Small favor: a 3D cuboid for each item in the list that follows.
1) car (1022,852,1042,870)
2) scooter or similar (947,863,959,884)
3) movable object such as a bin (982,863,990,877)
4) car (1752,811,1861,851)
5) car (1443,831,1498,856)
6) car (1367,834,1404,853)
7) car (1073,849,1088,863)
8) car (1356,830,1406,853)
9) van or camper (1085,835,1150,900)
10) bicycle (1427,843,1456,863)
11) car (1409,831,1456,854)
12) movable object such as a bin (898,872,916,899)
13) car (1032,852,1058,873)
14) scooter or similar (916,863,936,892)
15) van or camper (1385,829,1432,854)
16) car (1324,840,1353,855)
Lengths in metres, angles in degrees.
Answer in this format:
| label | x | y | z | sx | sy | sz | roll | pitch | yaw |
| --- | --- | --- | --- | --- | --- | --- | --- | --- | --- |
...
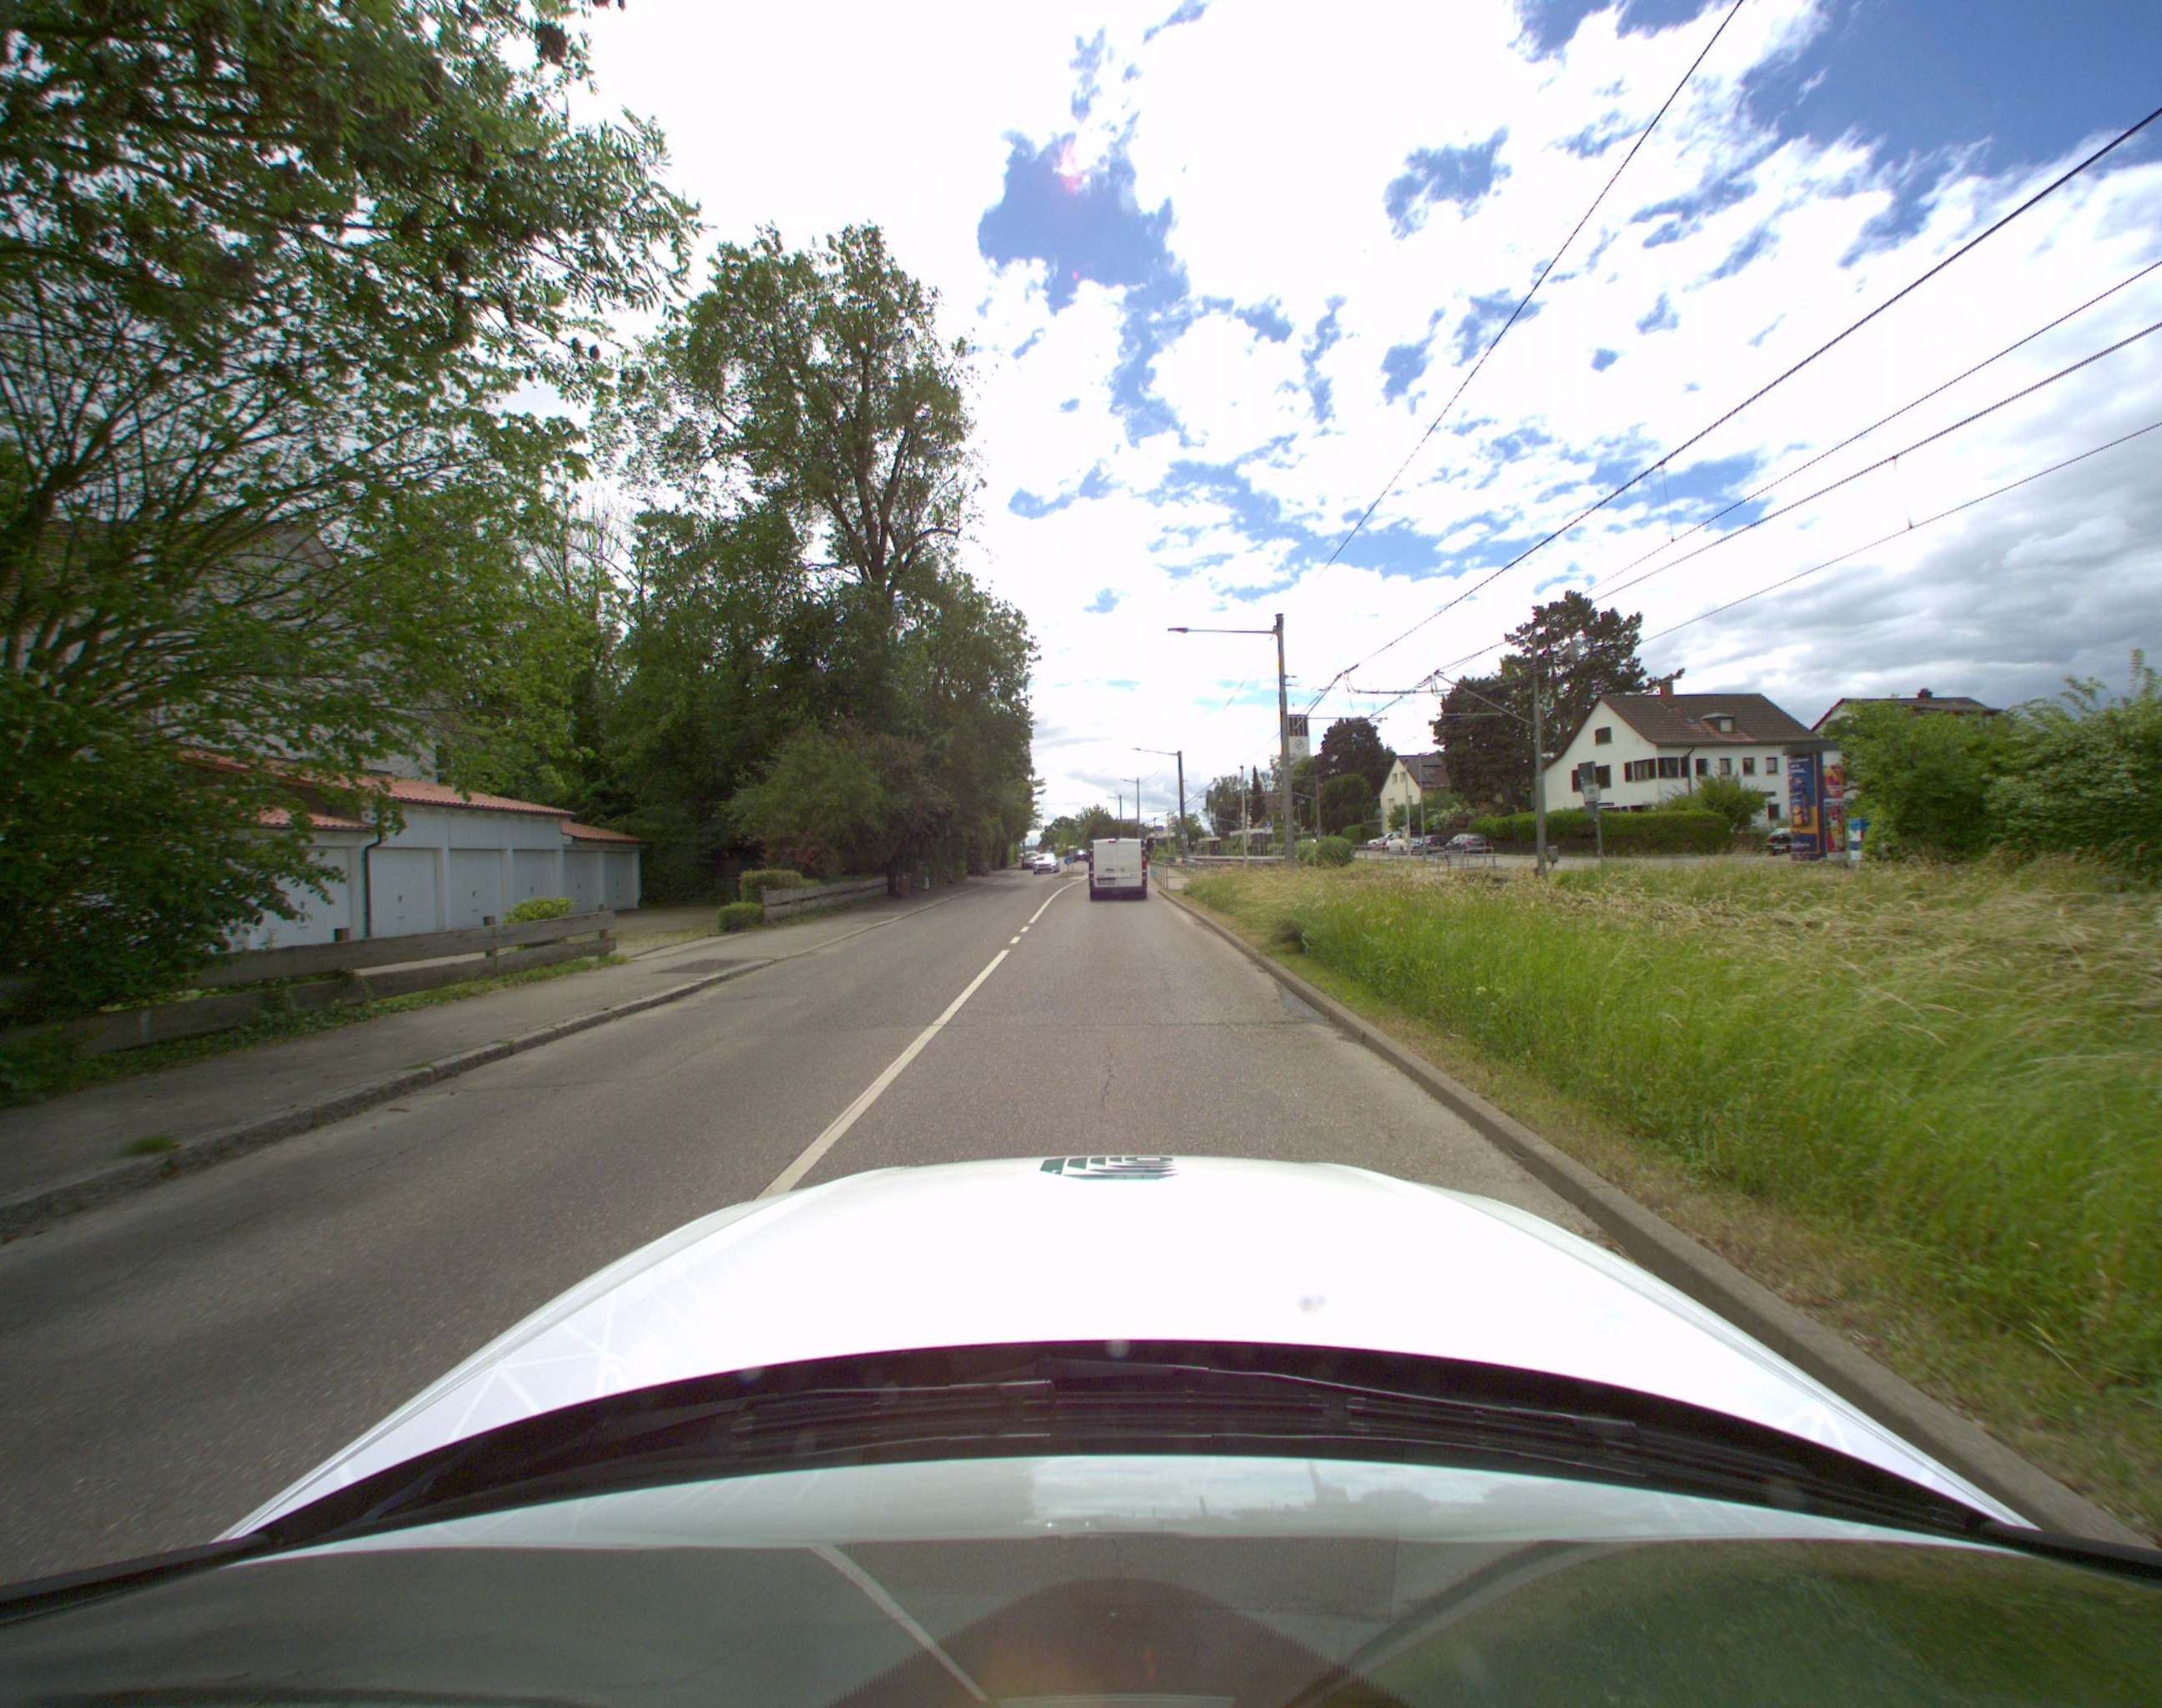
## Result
| label | x | y | z | sx | sy | sz | roll | pitch | yaw |
| --- | --- | --- | --- | --- | --- | --- | --- | --- | --- |
| car | -4.650 | 0.627 | 76.557 | 1.733 | 1.505 | 4.471 | -4 | 0 | -4 |
| scooter or similar | -6.876 | 1.045 | 43.699 | 0.478 | 1.081 | 1.207 | -1 | 0 | -16 |
| movable object such as a bin | -6.690 | 1.114 | 57.376 | 0.463 | 0.930 | 0.428 | 2 | -1 | -15 |
| car | 32.722 | -1.028 | 36.746 | 3.723 | 1.623 | 1.817 | -2 | 0 | -13 |
| car | 25.378 | -0.656 | 53.201 | 1.875 | 1.522 | 4.004 | -2 | 0 | 3 |
| car | 26.173 | -0.866 | 70.195 | 1.875 | 1.522 | 4.004 | -2 | 0 | 3 |
| car | -0.001 | 0.274 | 105.514 | 1.846 | 1.648 | 3.734 | -2 | 0 | 0 |
| car | 30.307 | -1.287 | 82.292 | 4.319 | 1.943 | 1.744 | -5 | 0 | -4 |
| van or camper | 1.242 | 0.430 | 27.516 | 1.985 | 2.014 | 4.449 | -1 | 0 | 3 |
| bicycle | 19.420 | -0.048 | 43.959 | 0.536 | 1.045 | 2.542 | -2 | 0 | 3 |
| car | 25.619 | -0.808 | 59.476 | 1.875 | 1.522 | 4.004 | -2 | 0 | 3 |
| movable object such as a bin | -6.410 | 1.146 | 29.951 | 0.511 | 0.945 | 0.569 | -1 | 0 | 2 |
| car | -2.593 | 0.606 | 59.678 | 1.689 | 1.430 | 3.785 | -4 | 0 | -1 |
| scooter or similar | -6.728 | 0.991 | 35.449 | 0.407 | 1.199 | 1.641 | -2 | 0 | 3 |
| van or camper | 25.770 | -0.977 | 64.283 | 1.897 | 1.826 | 5.052 | -2 | 0 | 3 |
| car | 27.134 | -0.705 | 85.916 | 1.875 | 1.522 | 4.004 | -2 | 0 | 3 |
